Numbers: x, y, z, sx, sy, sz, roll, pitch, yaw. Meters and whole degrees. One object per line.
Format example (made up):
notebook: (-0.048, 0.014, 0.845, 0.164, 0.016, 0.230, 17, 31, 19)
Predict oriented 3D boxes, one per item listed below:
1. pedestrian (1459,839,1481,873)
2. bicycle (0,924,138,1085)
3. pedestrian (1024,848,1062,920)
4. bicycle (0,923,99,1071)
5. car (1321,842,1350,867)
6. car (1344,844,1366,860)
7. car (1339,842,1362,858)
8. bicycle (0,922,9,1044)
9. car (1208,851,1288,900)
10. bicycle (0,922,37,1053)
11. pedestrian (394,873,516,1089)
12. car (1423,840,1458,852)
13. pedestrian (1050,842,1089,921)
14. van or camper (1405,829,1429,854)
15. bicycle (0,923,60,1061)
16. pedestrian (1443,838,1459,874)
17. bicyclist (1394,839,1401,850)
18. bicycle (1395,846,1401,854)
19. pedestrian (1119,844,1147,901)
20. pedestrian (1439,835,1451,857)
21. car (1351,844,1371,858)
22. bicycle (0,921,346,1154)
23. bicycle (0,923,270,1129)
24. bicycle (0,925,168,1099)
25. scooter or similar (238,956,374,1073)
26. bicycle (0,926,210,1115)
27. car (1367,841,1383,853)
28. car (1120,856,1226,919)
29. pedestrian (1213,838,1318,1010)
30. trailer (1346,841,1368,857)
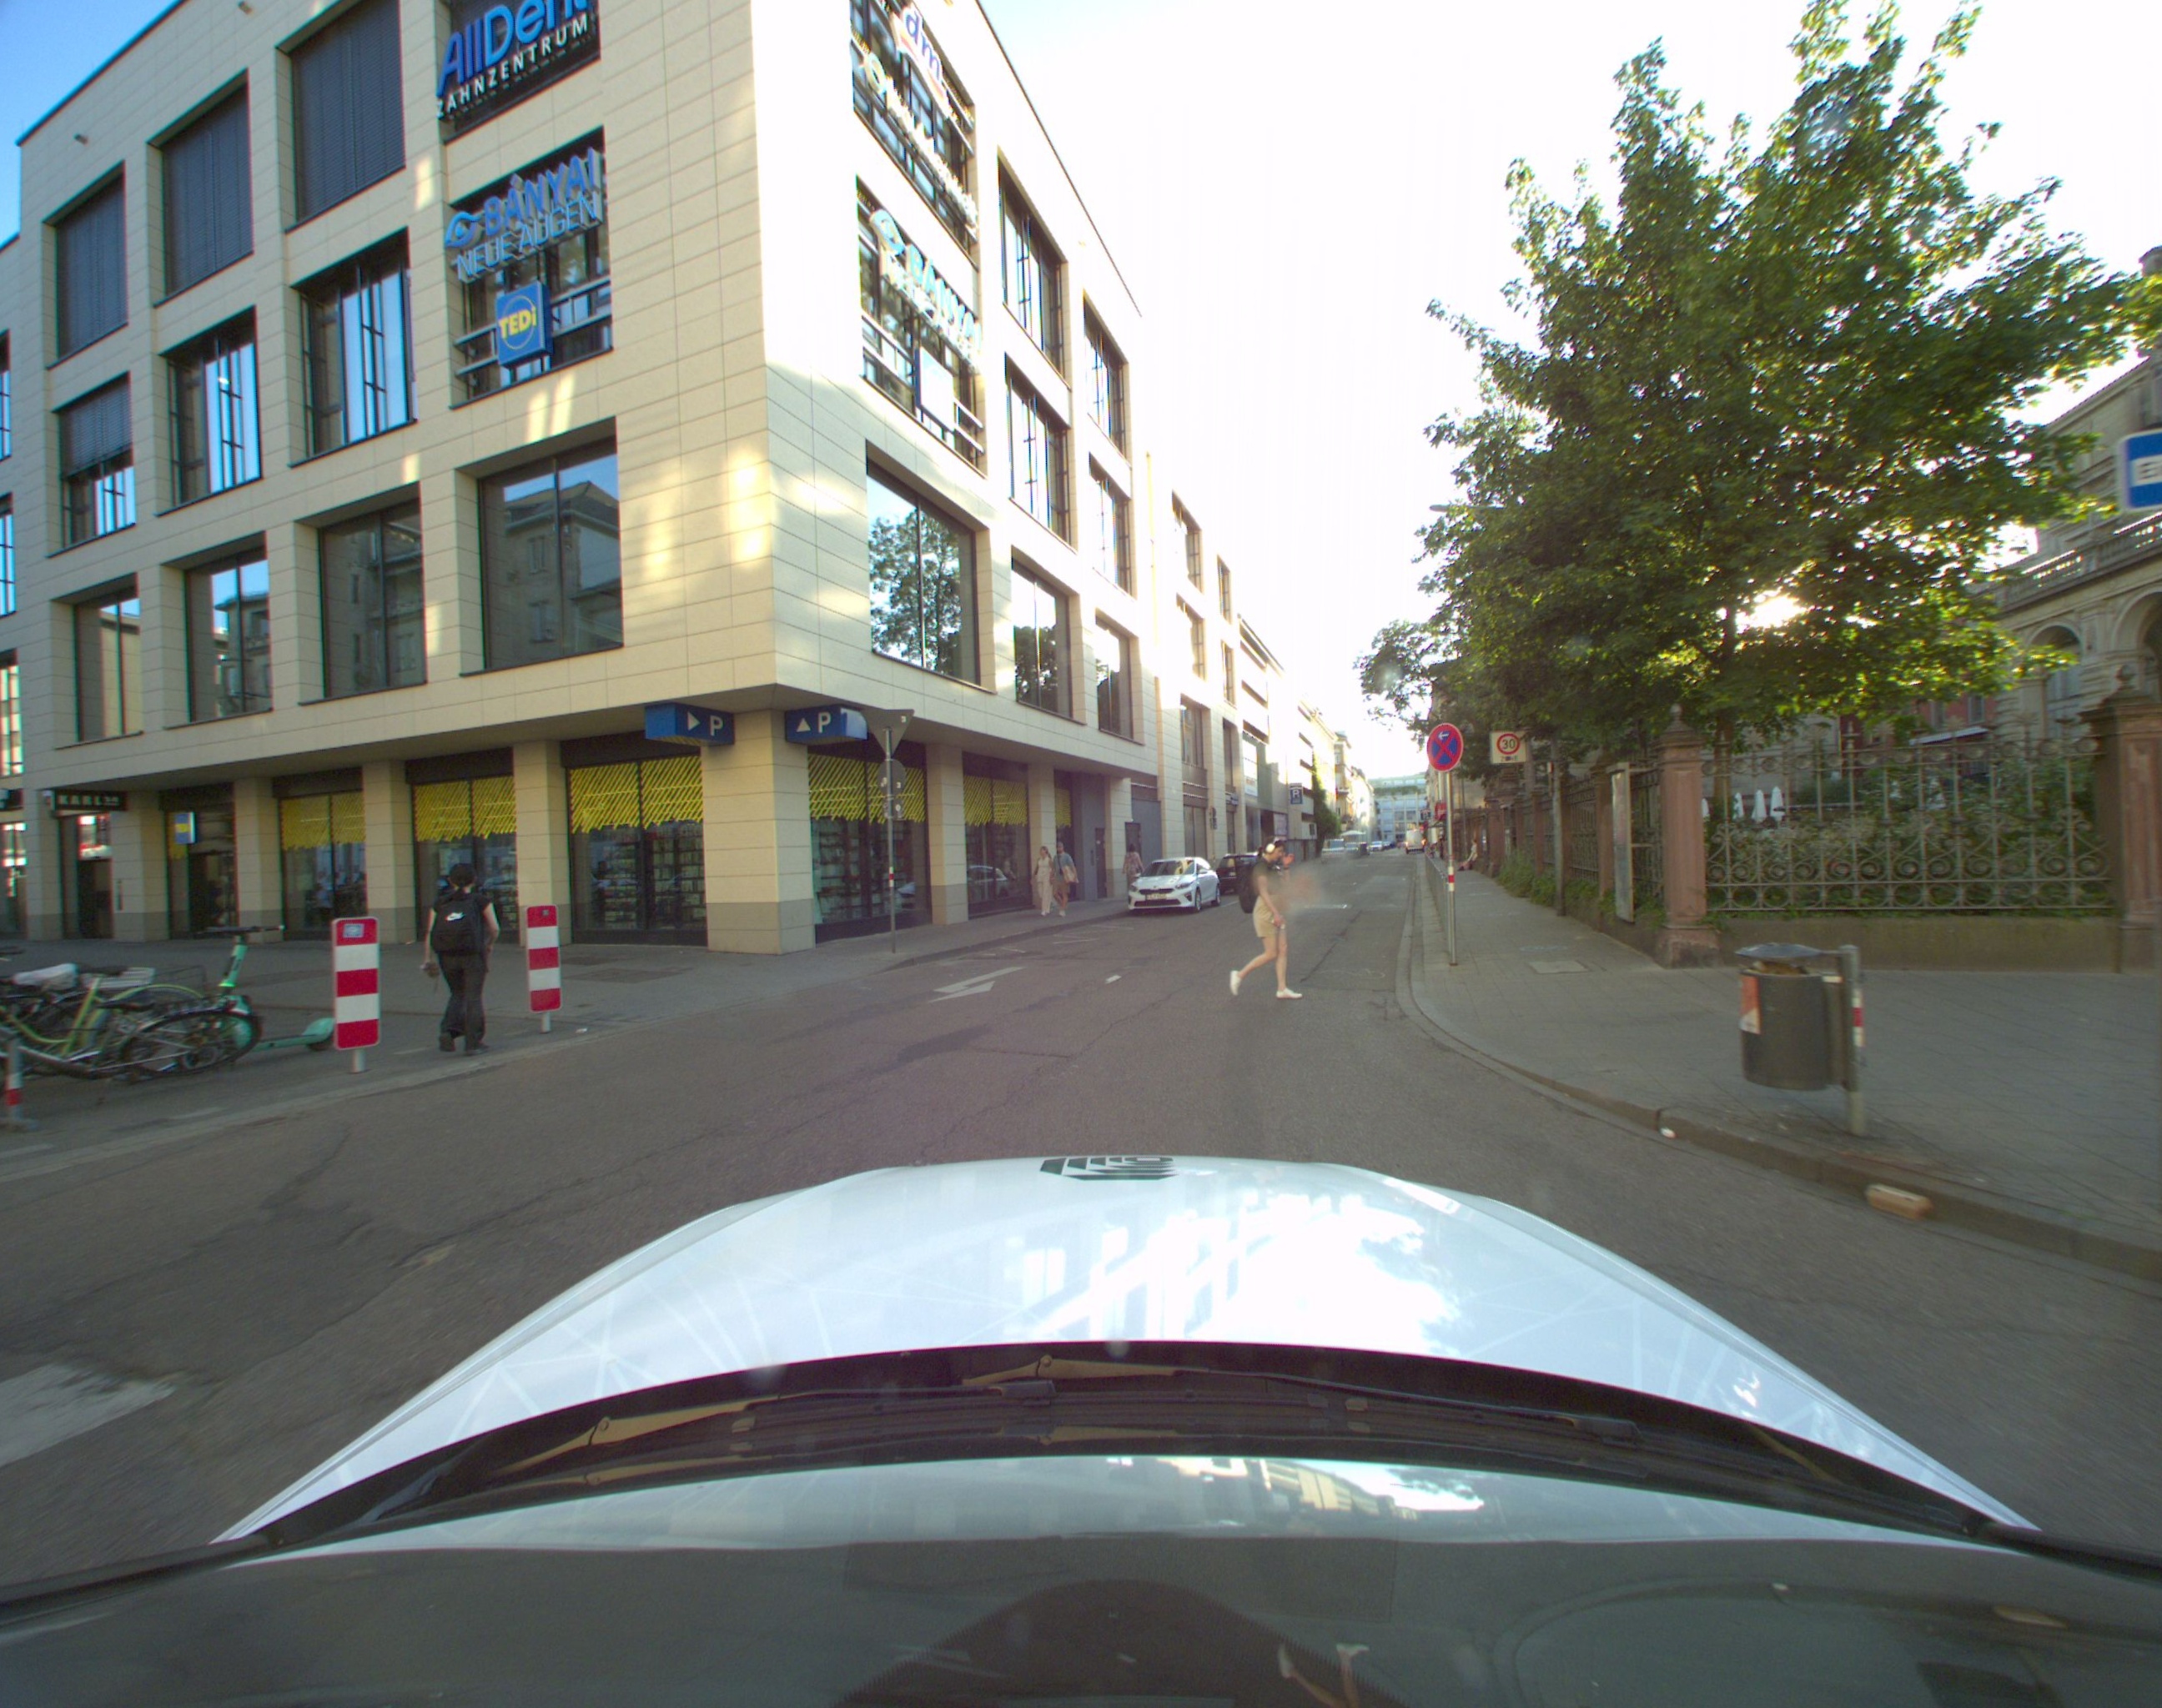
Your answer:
pedestrian: (17.925, 0.088, 37.498, 0.743, 1.500, 0.621, -4, -1, 17)
bicycle: (-9.209, 1.280, 6.592, 0.507, 1.255, 1.989, -2, -1, 21)
pedestrian: (-0.912, 0.714, 19.638, 0.666, 1.675, 0.650, -2, 0, 20)
bicycle: (-9.926, 1.294, 6.897, 0.507, 1.255, 1.989, -2, -1, 20)
car: (20.597, -0.001, 65.858, 1.867, 1.912, 4.773, -2, 0, 21)
car: (27.189, -0.181, 80.830, 1.867, 1.453, 4.021, -2, 0, 21)
car: (25.334, -0.406, 76.507, 1.867, 1.453, 4.021, -2, 0, 21)
bicycle: (-11.708, 1.340, 7.597, 0.507, 1.255, 1.989, -2, -1, 21)
car: (6.276, 0.750, 30.191, 1.866, 1.598, 4.716, -2, 0, 24)
bicycle: (-11.056, 1.325, 7.317, 0.507, 1.255, 1.989, -2, -1, 21)
pedestrian: (-5.279, 1.009, 6.921, 0.620, 1.658, 0.864, -2, 0, -26)
car: (45.711, -1.034, 103.535, 3.952, 1.420, 1.665, -2, -1, 22)
pedestrian: (-0.274, 0.644, 19.404, 0.666, 1.836, 0.650, -2, 0, 20)
van or camper: (39.054, -1.454, 94.542, 2.238, 2.607, 5.140, -7, -2, 22)
bicycle: (-10.540, 1.307, 7.086, 0.507, 1.255, 1.989, -2, -1, 21)
pedestrian: (17.246, 0.077, 37.995, 0.480, 1.658, 0.621, -4, -1, 15)
bicyclist: (54.173, -1.558, 139.246, 0.981, 1.868, 0.712, -2, -1, 22)
bicycle: (54.162, -0.742, 139.135, 0.966, 1.280, 2.769, -2, -1, 23)
pedestrian: (1.646, 0.580, 25.731, 0.666, 1.744, 0.651, -2, 0, 22)
pedestrian: (28.181, -0.637, 63.055, 0.656, 1.666, 0.627, -4, -1, 22)
car: (30.680, -0.371, 89.249, 1.867, 1.453, 4.021, -2, 0, 21)
bicycle: (-6.613, 1.187, 5.672, 0.658, 1.255, 2.151, -2, -1, 19)
bicycle: (-7.347, 1.210, 5.879, 0.576, 1.255, 2.054, -2, -1, 19)
bicycle: (-8.544, 1.256, 6.241, 0.507, 1.255, 1.990, -2, -1, 23)
scooter or similar: (-6.875, 1.400, 7.250, 0.383, 0.884, 0.774, -2, -1, 21)
bicycle: (-7.959, 1.252, 6.043, 0.507, 1.255, 1.988, -2, -1, 19)
car: (43.804, -1.058, 121.113, 1.976, 1.684, 4.022, -2, -1, 23)
car: (2.594, 0.843, 21.999, 1.762, 1.453, 4.253, -2, 0, 21)
pedestrian: (1.978, 0.713, 8.768, 0.640, 1.723, 0.836, -2, 0, -33)
trailer: (28.773, -0.490, 84.904, 1.976, 1.557, 4.021, -2, -1, 21)
